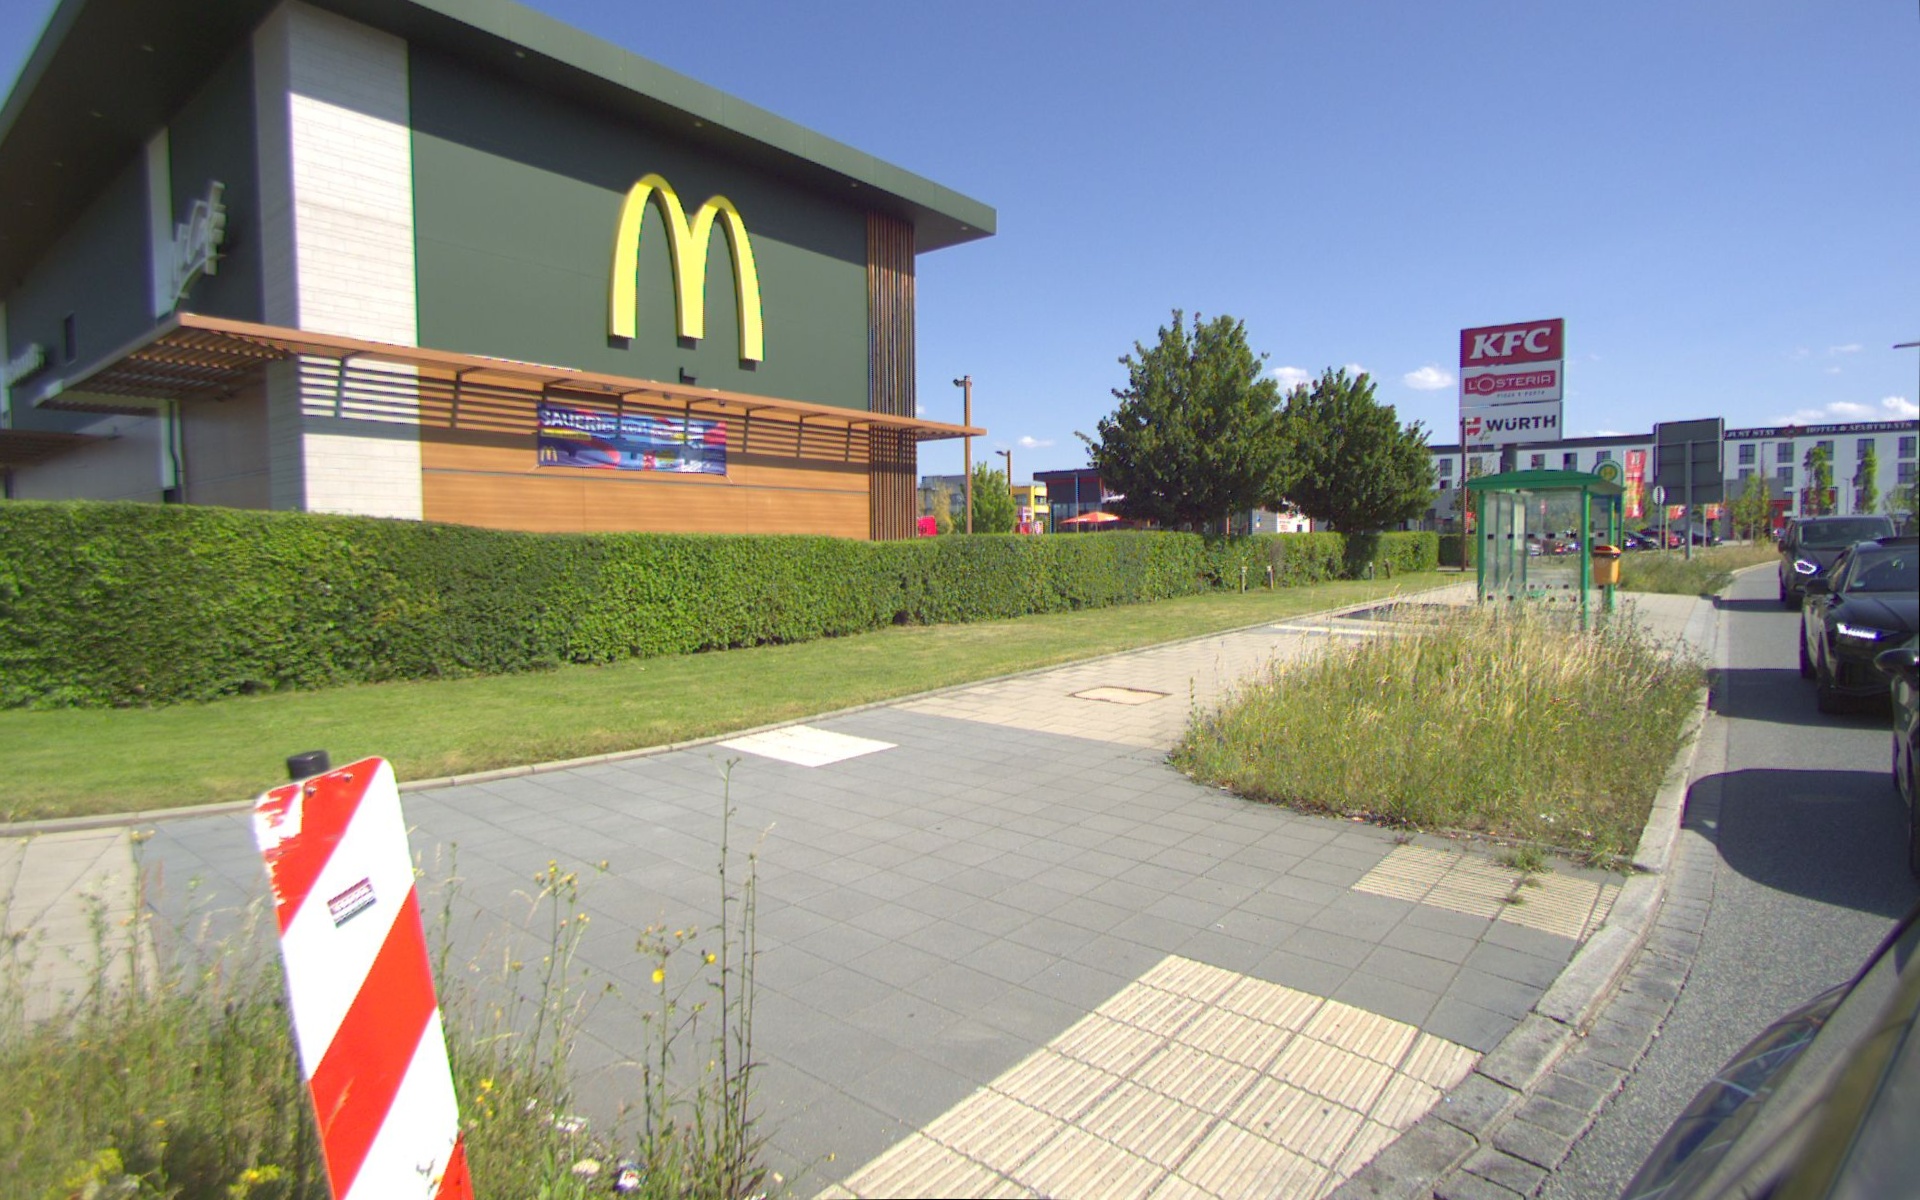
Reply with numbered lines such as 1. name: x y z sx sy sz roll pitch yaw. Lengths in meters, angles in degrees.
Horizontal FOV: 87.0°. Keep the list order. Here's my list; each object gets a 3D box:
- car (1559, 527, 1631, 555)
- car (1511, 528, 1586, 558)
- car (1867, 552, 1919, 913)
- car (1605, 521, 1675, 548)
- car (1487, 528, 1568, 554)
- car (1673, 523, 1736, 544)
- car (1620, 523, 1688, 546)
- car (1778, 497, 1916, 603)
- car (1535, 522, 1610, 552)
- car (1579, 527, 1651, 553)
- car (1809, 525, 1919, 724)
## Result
1. car: 47.172 -4.378 75.252 1.898 2.038 4.187 -3 4 -36
2. car: 41.453 -4.032 71.335 1.897 2.038 4.187 -3 4 -36
3. car: 5.956 0.519 5.135 1.858 1.486 3.938 2 4 44
4. car: 53.283 -5.143 79.334 1.899 2.038 4.184 -3 4 -38
5. car: 38.159 -3.987 68.119 1.902 1.672 4.433 -4 4 -44
6. car: 61.789 -5.512 84.030 1.725 1.639 3.824 -3 4 -37
7. car: 55.773 -5.235 81.404 1.789 1.783 4.190 -3 4 -33
8. car: 19.664 -1.128 22.523 2.071 2.073 4.616 -2 2 41
9. car: 44.113 -4.536 72.961 1.898 2.038 4.186 -3 4 -37
10. car: 49.309 -4.530 76.283 1.768 1.880 4.190 -3 3 -33
11. car: 9.779 0.110 10.145 1.855 1.709 3.943 -2 2 41
